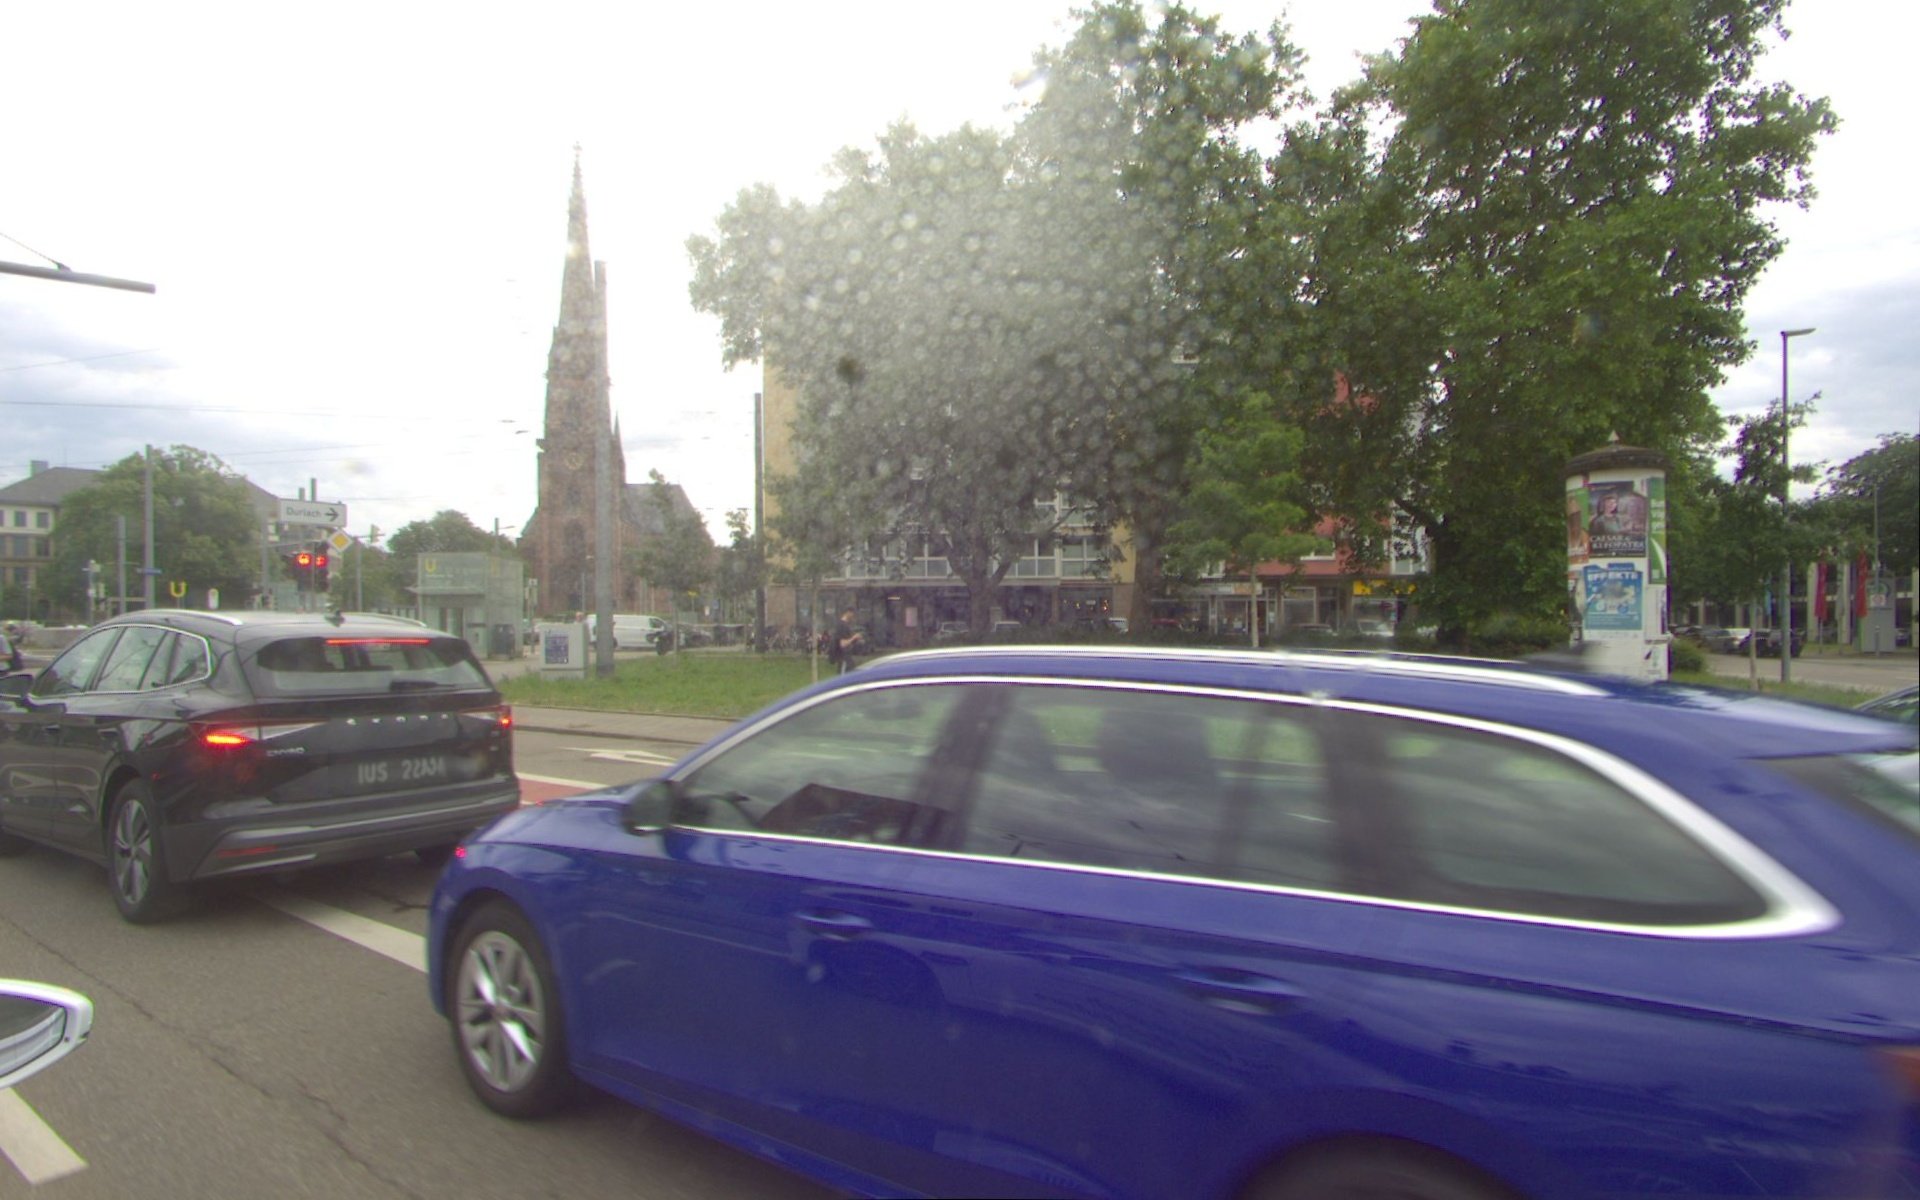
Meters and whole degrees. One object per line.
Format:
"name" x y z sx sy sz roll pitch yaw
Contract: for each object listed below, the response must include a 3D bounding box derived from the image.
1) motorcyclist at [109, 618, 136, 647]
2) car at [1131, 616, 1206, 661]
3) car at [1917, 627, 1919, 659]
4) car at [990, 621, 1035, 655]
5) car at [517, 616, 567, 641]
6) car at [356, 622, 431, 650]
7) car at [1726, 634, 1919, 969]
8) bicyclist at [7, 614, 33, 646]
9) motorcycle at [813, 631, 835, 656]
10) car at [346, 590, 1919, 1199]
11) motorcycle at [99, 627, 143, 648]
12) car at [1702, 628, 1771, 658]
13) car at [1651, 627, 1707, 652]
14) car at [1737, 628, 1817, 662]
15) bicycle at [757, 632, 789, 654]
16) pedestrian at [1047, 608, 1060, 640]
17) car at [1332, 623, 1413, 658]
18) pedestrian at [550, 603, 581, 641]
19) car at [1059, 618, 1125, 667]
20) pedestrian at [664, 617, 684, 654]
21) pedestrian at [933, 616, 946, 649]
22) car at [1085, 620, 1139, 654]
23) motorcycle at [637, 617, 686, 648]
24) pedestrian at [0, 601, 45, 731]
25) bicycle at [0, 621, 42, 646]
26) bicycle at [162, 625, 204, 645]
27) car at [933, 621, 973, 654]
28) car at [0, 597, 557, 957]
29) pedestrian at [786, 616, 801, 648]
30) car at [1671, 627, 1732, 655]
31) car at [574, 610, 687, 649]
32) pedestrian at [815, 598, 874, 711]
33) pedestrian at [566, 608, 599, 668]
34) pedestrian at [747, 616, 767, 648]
"motorcyclist" -48.446 1.885 57.922 0.735 1.671 0.981 -1 0 2
"car" 7.772 1.423 37.769 1.825 1.567 4.477 0 -1 -1
"car" 46.265 1.993 45.780 1.866 1.567 4.468 -2 -1 19
"car" 2.464 1.776 47.522 1.825 1.509 4.477 0 -1 -1
"car" -31.264 2.109 75.030 1.864 1.797 4.001 -1 -2 4
"car" -32.046 2.013 56.753 1.741 1.483 4.001 -1 -2 4
"car" 6.286 0.924 4.630 4.029 1.486 1.750 -1 -1 24
"bicyclist" -50.650 1.606 53.955 0.643 1.695 0.855 0 0 20
"motorcycle" -5.582 1.770 41.106 0.857 1.010 1.015 0 -1 -5
"car" 0.146 0.792 2.977 4.406 1.507 1.775 -1 -1 35
"motorcycle" -48.462 2.161 57.863 0.729 1.154 2.142 0 -1 2
"car" 45.671 2.487 59.032 1.829 1.644 4.468 -2 -1 19
"car" 49.162 2.687 68.564 1.829 1.644 4.468 -2 -1 19
"car" 43.607 2.376 53.577 1.829 1.644 4.468 -2 -1 19
"bicycle" -7.882 1.810 42.218 1.240 0.929 0.595 0 -1 5
"pedestrian" 4.810 1.249 51.697 0.625 1.659 0.872 0 -1 2
"car" 19.299 1.856 47.044 1.825 1.567 4.477 0 -1 -2
"pedestrian" -19.383 1.096 49.211 1.066 1.820 0.947 -1 -1 3
"car" 4.890 1.553 37.685 1.825 1.744 4.477 0 -1 -1
"pedestrian" -13.065 1.615 45.797 0.625 1.659 0.872 0 -1 2
"pedestrian" -1.066 1.682 51.467 0.625 1.659 0.872 0 -1 2
"car" 7.193 1.747 47.815 1.825 1.567 4.477 0 -1 -1
"motorcycle" -11.673 1.276 39.259 0.753 1.183 2.385 0 -1 14
"pedestrian" -14.622 0.989 15.088 0.721 1.931 1.104 0 -1 -8
"bicycle" -50.660 1.802 53.920 0.634 1.339 1.733 0 -1 19
"bicycle" -54.737 2.445 70.543 0.699 1.348 2.250 -2 -2 42
"car" -0.353 1.758 47.596 1.825 1.509 4.477 0 -1 -1
"car" -4.747 0.842 6.477 4.446 1.617 1.774 -1 -1 33
"pedestrian" -8.687 1.688 52.256 0.625 1.659 0.872 0 -1 1
"car" 47.310 2.596 64.007 1.829 1.644 4.468 -2 -1 19
"car" -18.317 1.637 55.853 5.669 2.039 2.013 0 -2 -38
"pedestrian" -1.961 0.910 16.914 0.968 1.868 0.537 0 0 -9
"pedestrian" -12.445 1.242 33.020 0.873 1.955 1.016 0 -1 -13
"pedestrian" -10.512 1.645 51.857 0.778 1.659 0.632 1 -1 -41
